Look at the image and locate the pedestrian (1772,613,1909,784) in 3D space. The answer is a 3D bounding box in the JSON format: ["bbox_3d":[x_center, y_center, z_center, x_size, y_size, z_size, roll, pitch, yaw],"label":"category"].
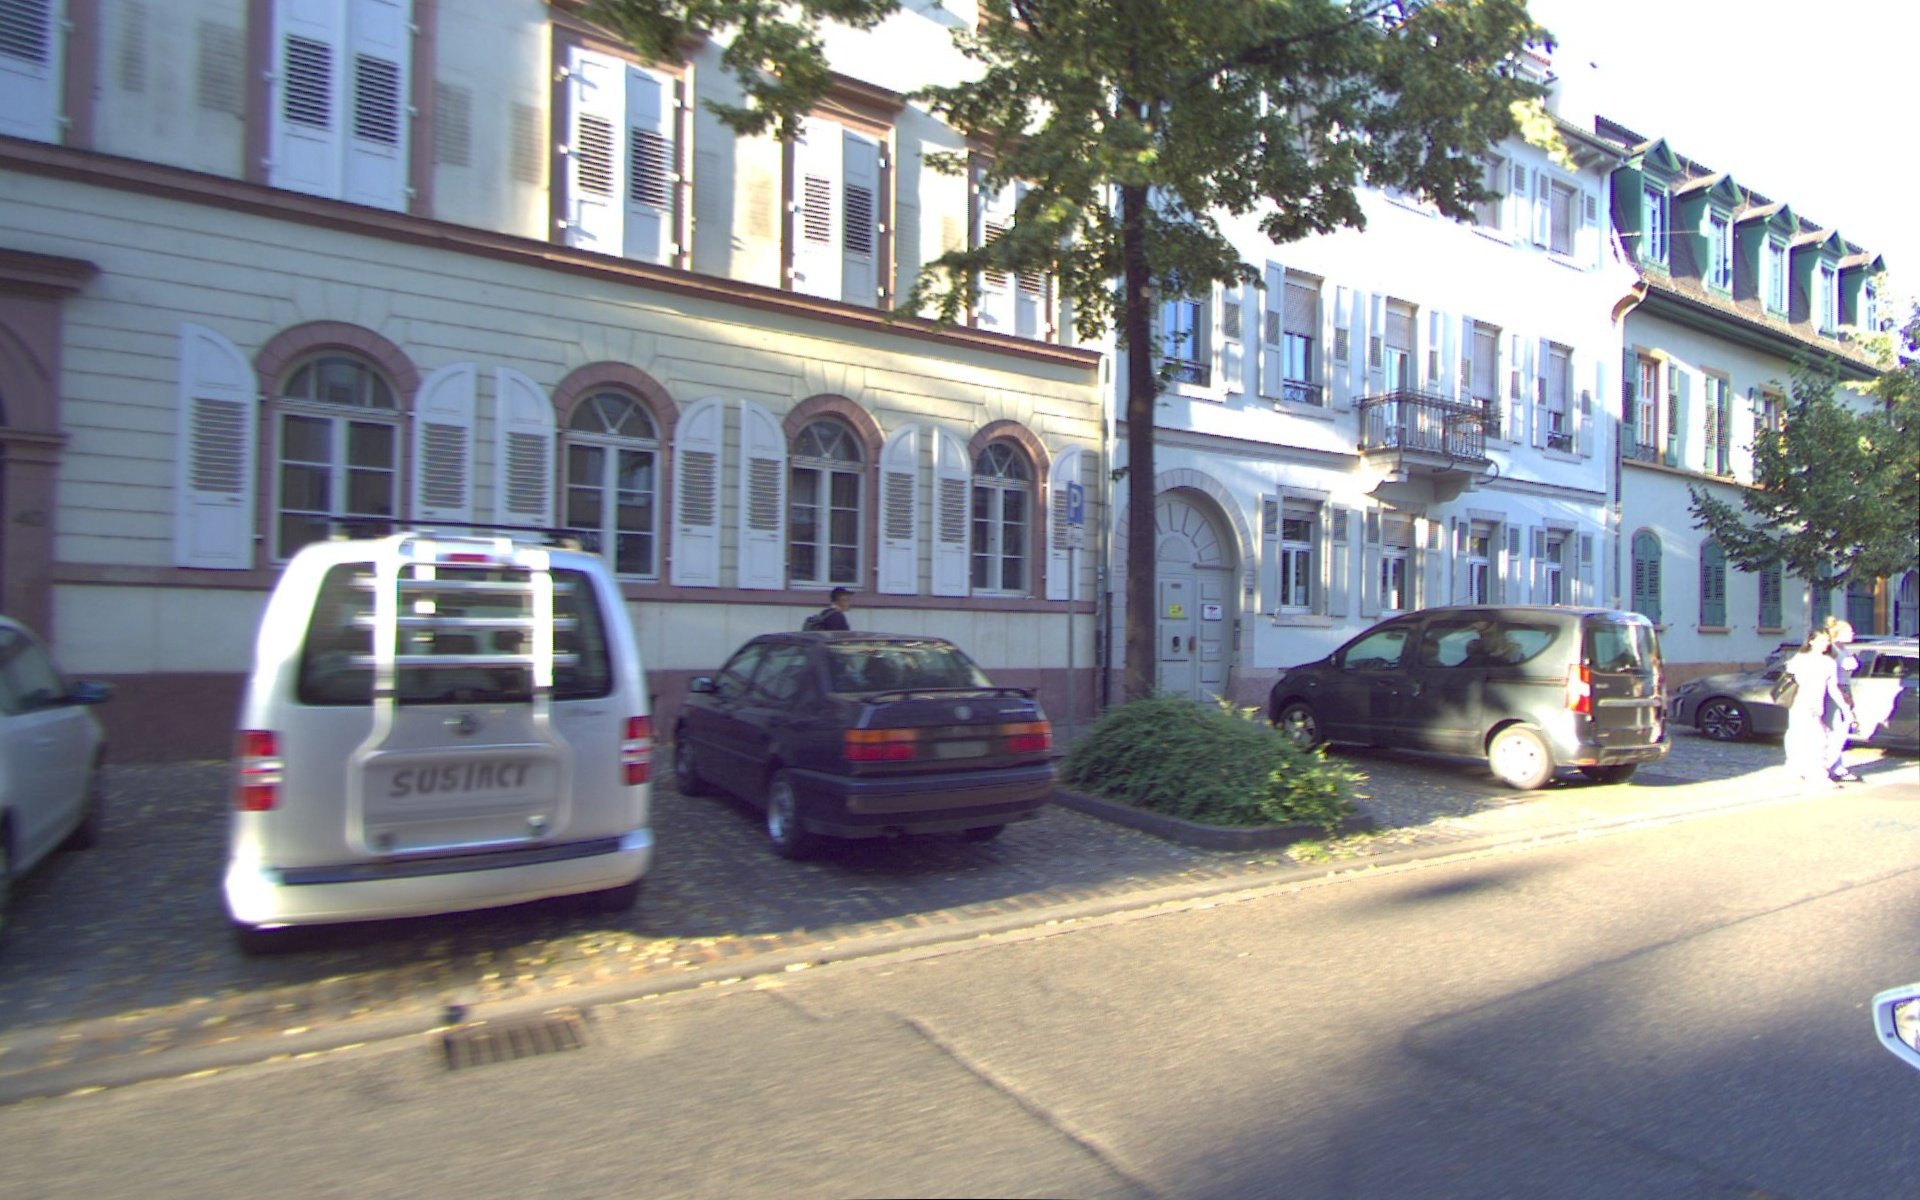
[{"bbox_3d":[9.727,1.057,11.115,0.753,1.782,0.917,1,-3,-29],"label":"pedestrian"}]

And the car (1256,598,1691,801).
[{"bbox_3d":[5.501,0.948,11.341,1.784,1.830,4.121,1,-1,-28],"label":"car"}]

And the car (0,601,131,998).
[{"bbox_3d":[-5.307,0.763,4.794,1.695,1.486,3.349,1,0,-33],"label":"car"}]

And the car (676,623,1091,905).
[{"bbox_3d":[-0.872,0.937,7.590,1.574,1.459,4.135,1,-1,-28],"label":"car"}]

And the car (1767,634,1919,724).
[{"bbox_3d":[17.862,1.459,18.698,1.939,1.576,4.022,1,-1,-27],"label":"car"}]

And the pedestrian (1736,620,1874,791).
[{"bbox_3d":[9.024,1.085,10.742,0.753,1.717,0.917,2,-2,-29],"label":"pedestrian"}]

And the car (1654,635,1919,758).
[{"bbox_3d":[12.190,1.268,13.829,1.667,1.480,4.036,1,-1,-32],"label":"car"}]

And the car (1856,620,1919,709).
[{"bbox_3d":[22.476,1.422,21.298,1.950,1.933,4.848,1,-1,-30],"label":"car"}]

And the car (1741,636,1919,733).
[{"bbox_3d":[16.021,1.410,17.001,1.940,1.503,4.018,1,-1,-30],"label":"car"}]

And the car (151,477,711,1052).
[{"bbox_3d":[-2.968,0.601,5.908,1.894,1.979,4.482,1,-1,-28],"label":"car"}]

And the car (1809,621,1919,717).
[{"bbox_3d":[19.934,1.382,19.914,1.871,1.895,4.409,1,-1,-29],"label":"car"}]

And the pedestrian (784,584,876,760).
[{"bbox_3d":[-1.421,0.765,10.942,0.771,1.825,0.659,2,-2,-30],"label":"pedestrian"}]
